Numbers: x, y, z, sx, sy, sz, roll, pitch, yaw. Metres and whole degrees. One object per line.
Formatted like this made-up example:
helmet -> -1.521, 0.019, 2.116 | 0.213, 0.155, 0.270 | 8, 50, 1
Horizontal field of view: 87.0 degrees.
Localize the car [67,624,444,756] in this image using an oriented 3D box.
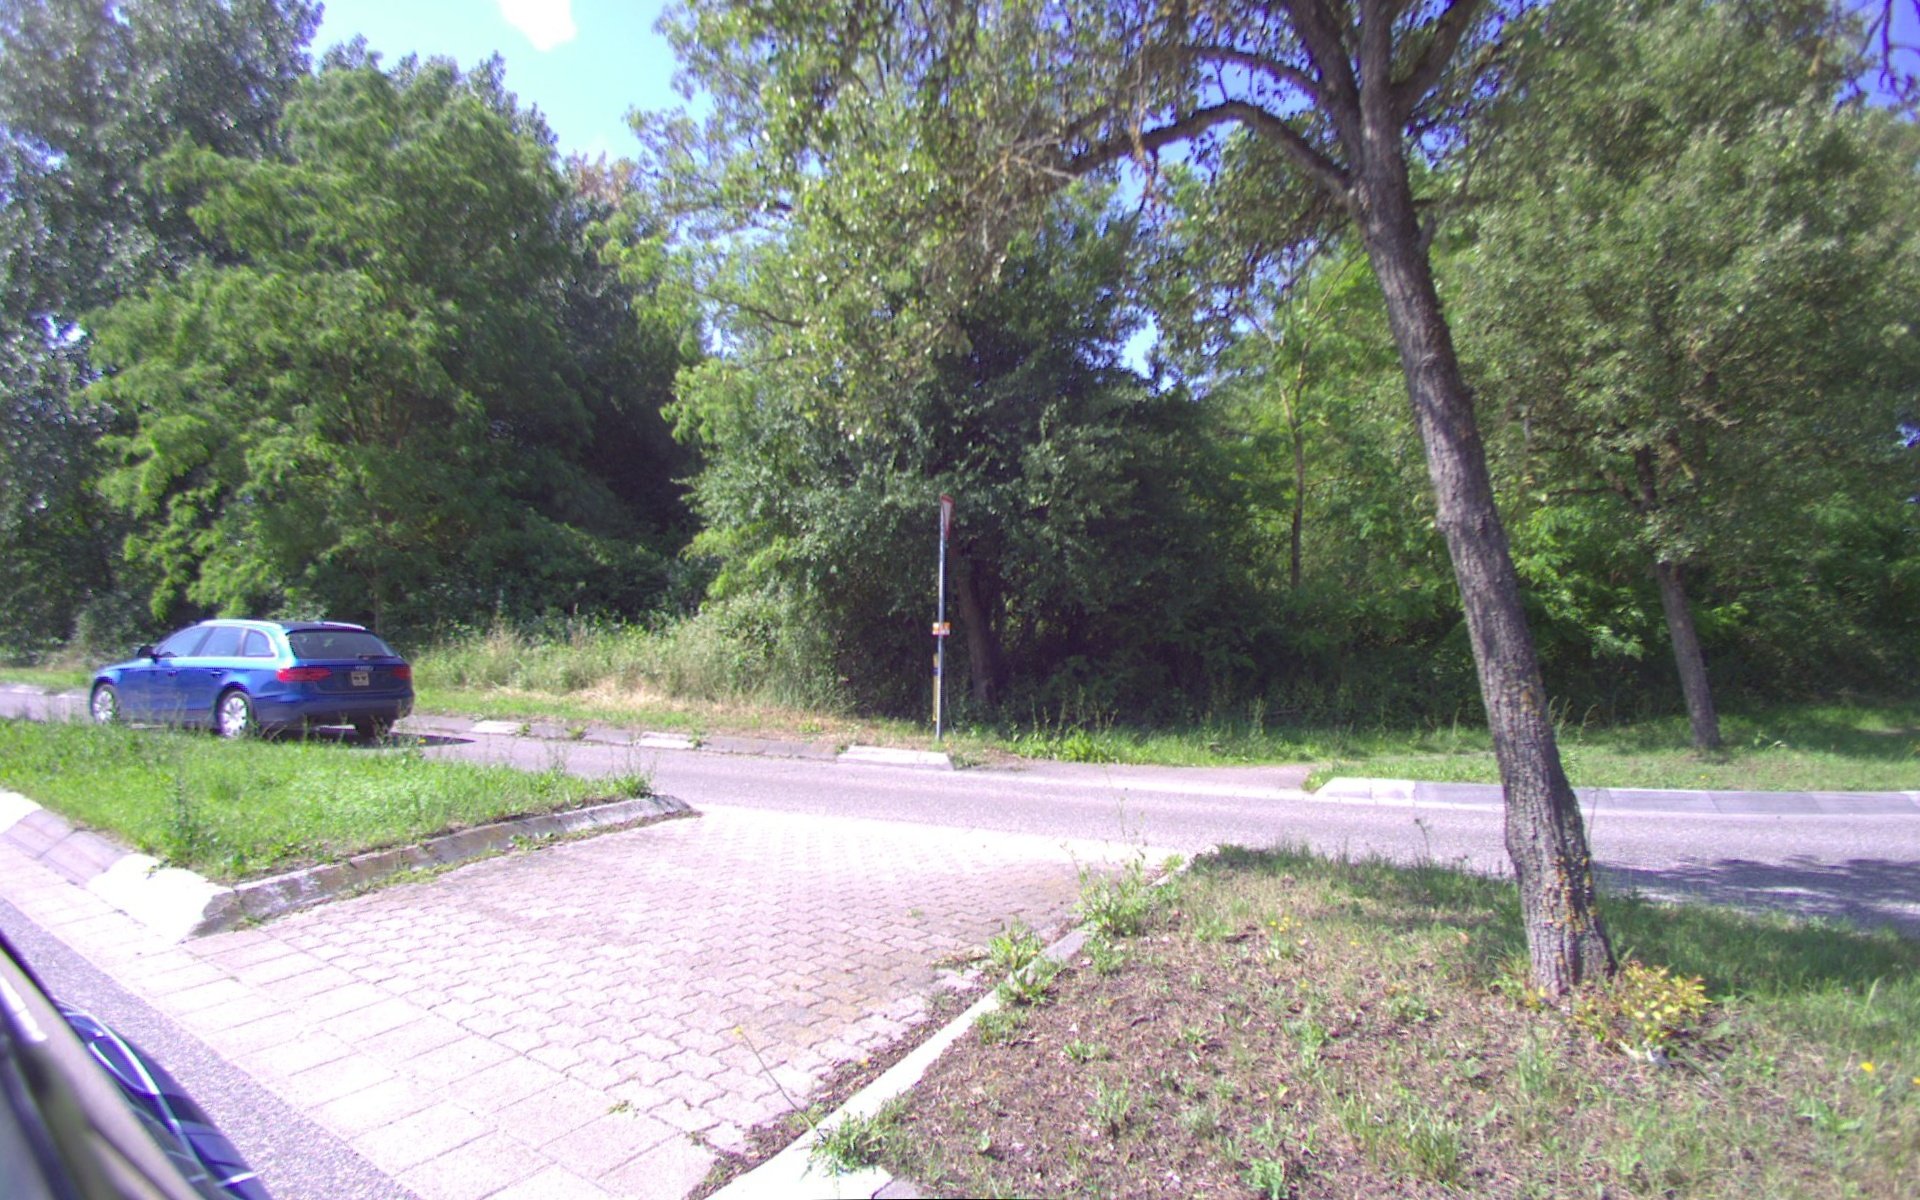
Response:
car -> -8.718, 1.028, 12.510 | 4.397, 1.398, 1.823 | -1, -3, 25
